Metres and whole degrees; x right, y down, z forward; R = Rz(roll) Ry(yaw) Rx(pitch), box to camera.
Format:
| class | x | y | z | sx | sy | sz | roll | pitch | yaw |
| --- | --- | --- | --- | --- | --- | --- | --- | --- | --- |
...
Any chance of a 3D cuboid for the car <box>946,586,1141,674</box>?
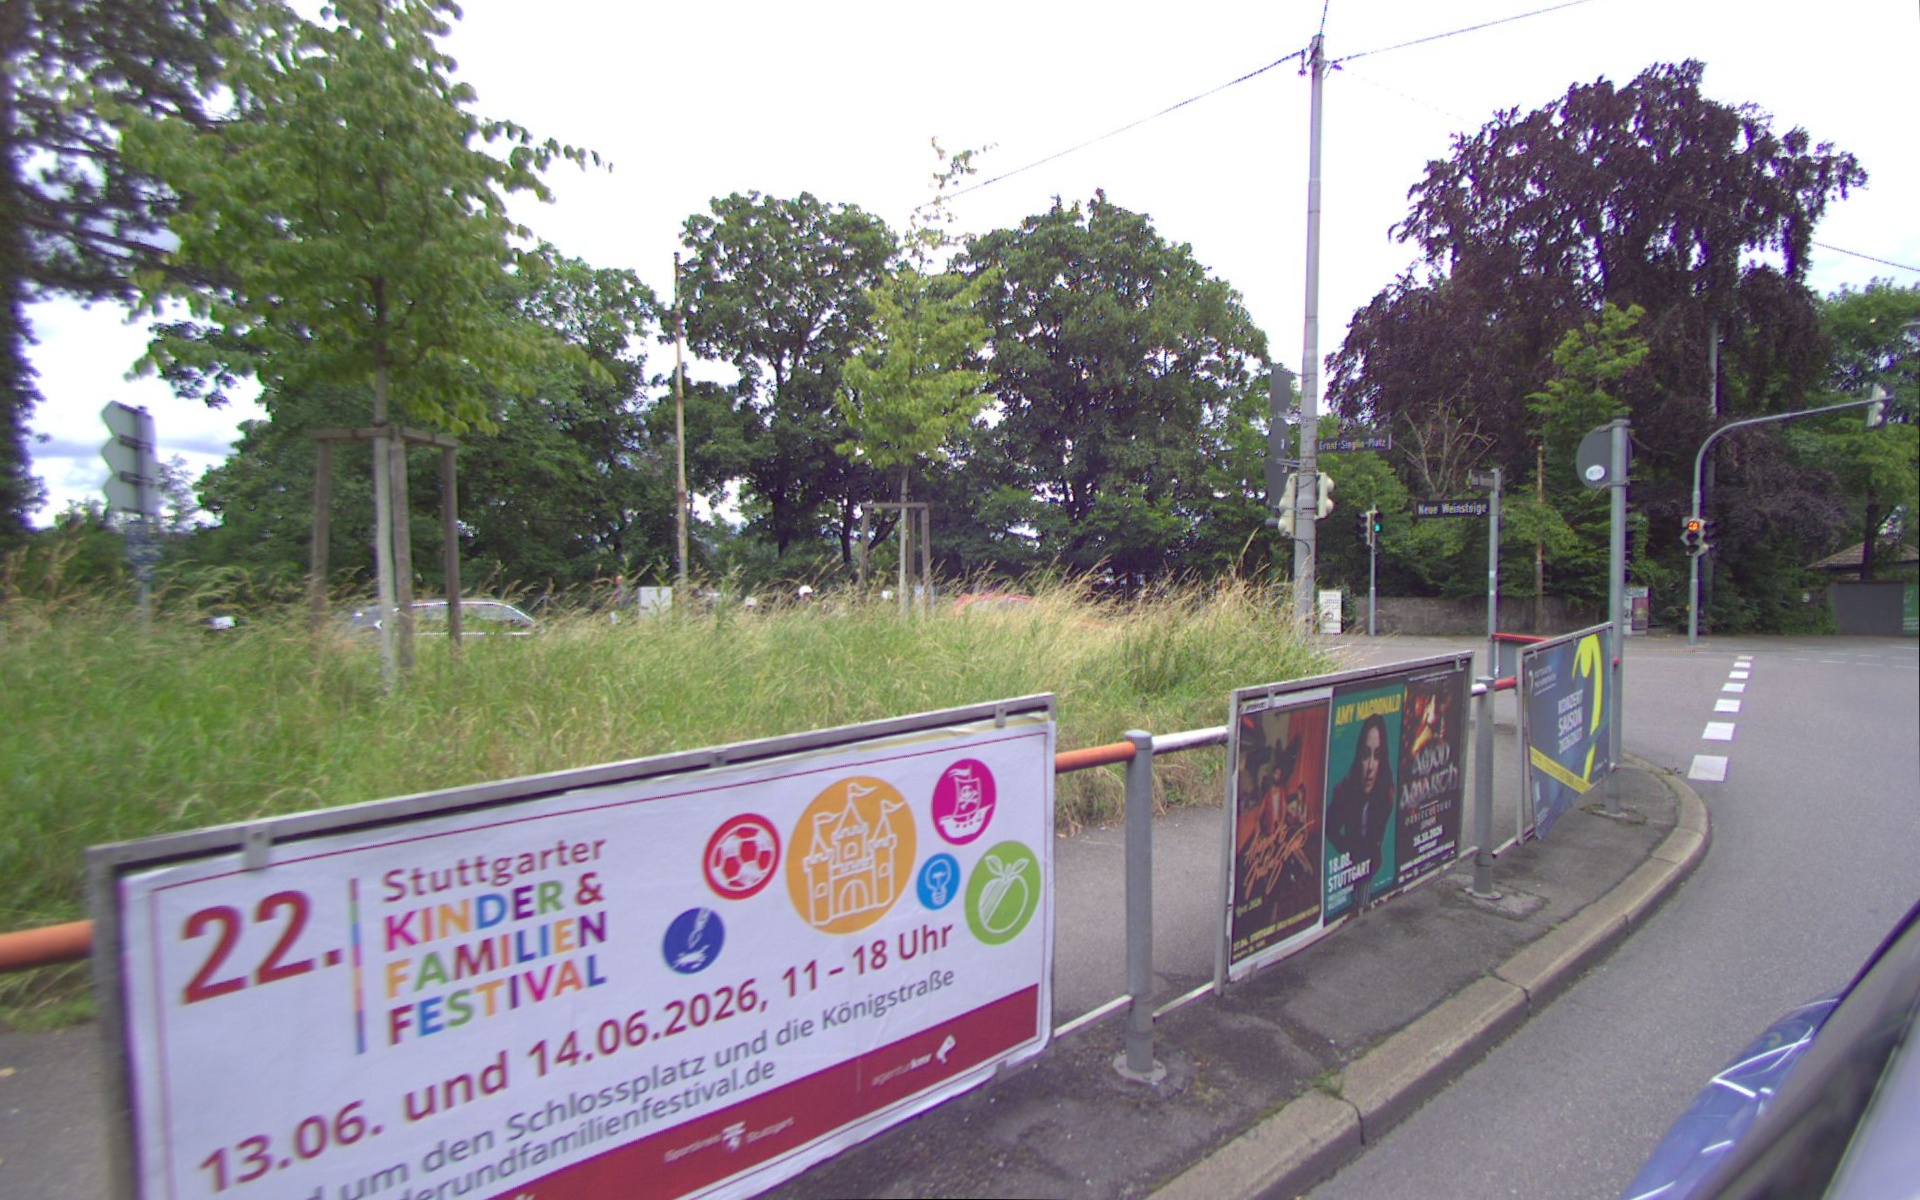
| class | x | y | z | sx | sy | sz | roll | pitch | yaw |
| --- | --- | --- | --- | --- | --- | --- | --- | --- | --- |
| car | 1.626 | 0.562 | 19.898 | 3.633 | 1.523 | 1.651 | -1 | 3 | 5 |

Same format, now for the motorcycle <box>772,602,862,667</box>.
| class | x | y | z | sx | sy | sz | roll | pitch | yaw |
| --- | --- | --- | --- | --- | --- | --- | --- | --- | --- |
| motorcycle | -2.876 | 0.689 | 20.452 | 1.715 | 1.248 | 0.726 | 0 | 1 | 1 |

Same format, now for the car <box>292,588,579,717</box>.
| class | x | y | z | sx | sy | sz | roll | pitch | yaw |
| --- | --- | --- | --- | --- | --- | --- | --- | --- | --- |
| car | -8.597 | 0.743 | 16.706 | 3.927 | 1.749 | 1.925 | -2 | 2 | -37 |

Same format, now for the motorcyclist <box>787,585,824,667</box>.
| class | x | y | z | sx | sy | sz | roll | pitch | yaw |
| --- | --- | --- | --- | --- | --- | --- | --- | --- | --- |
| motorcyclist | -3.120 | 0.509 | 20.491 | 0.636 | 1.624 | 0.726 | 0 | 1 | 1 |
